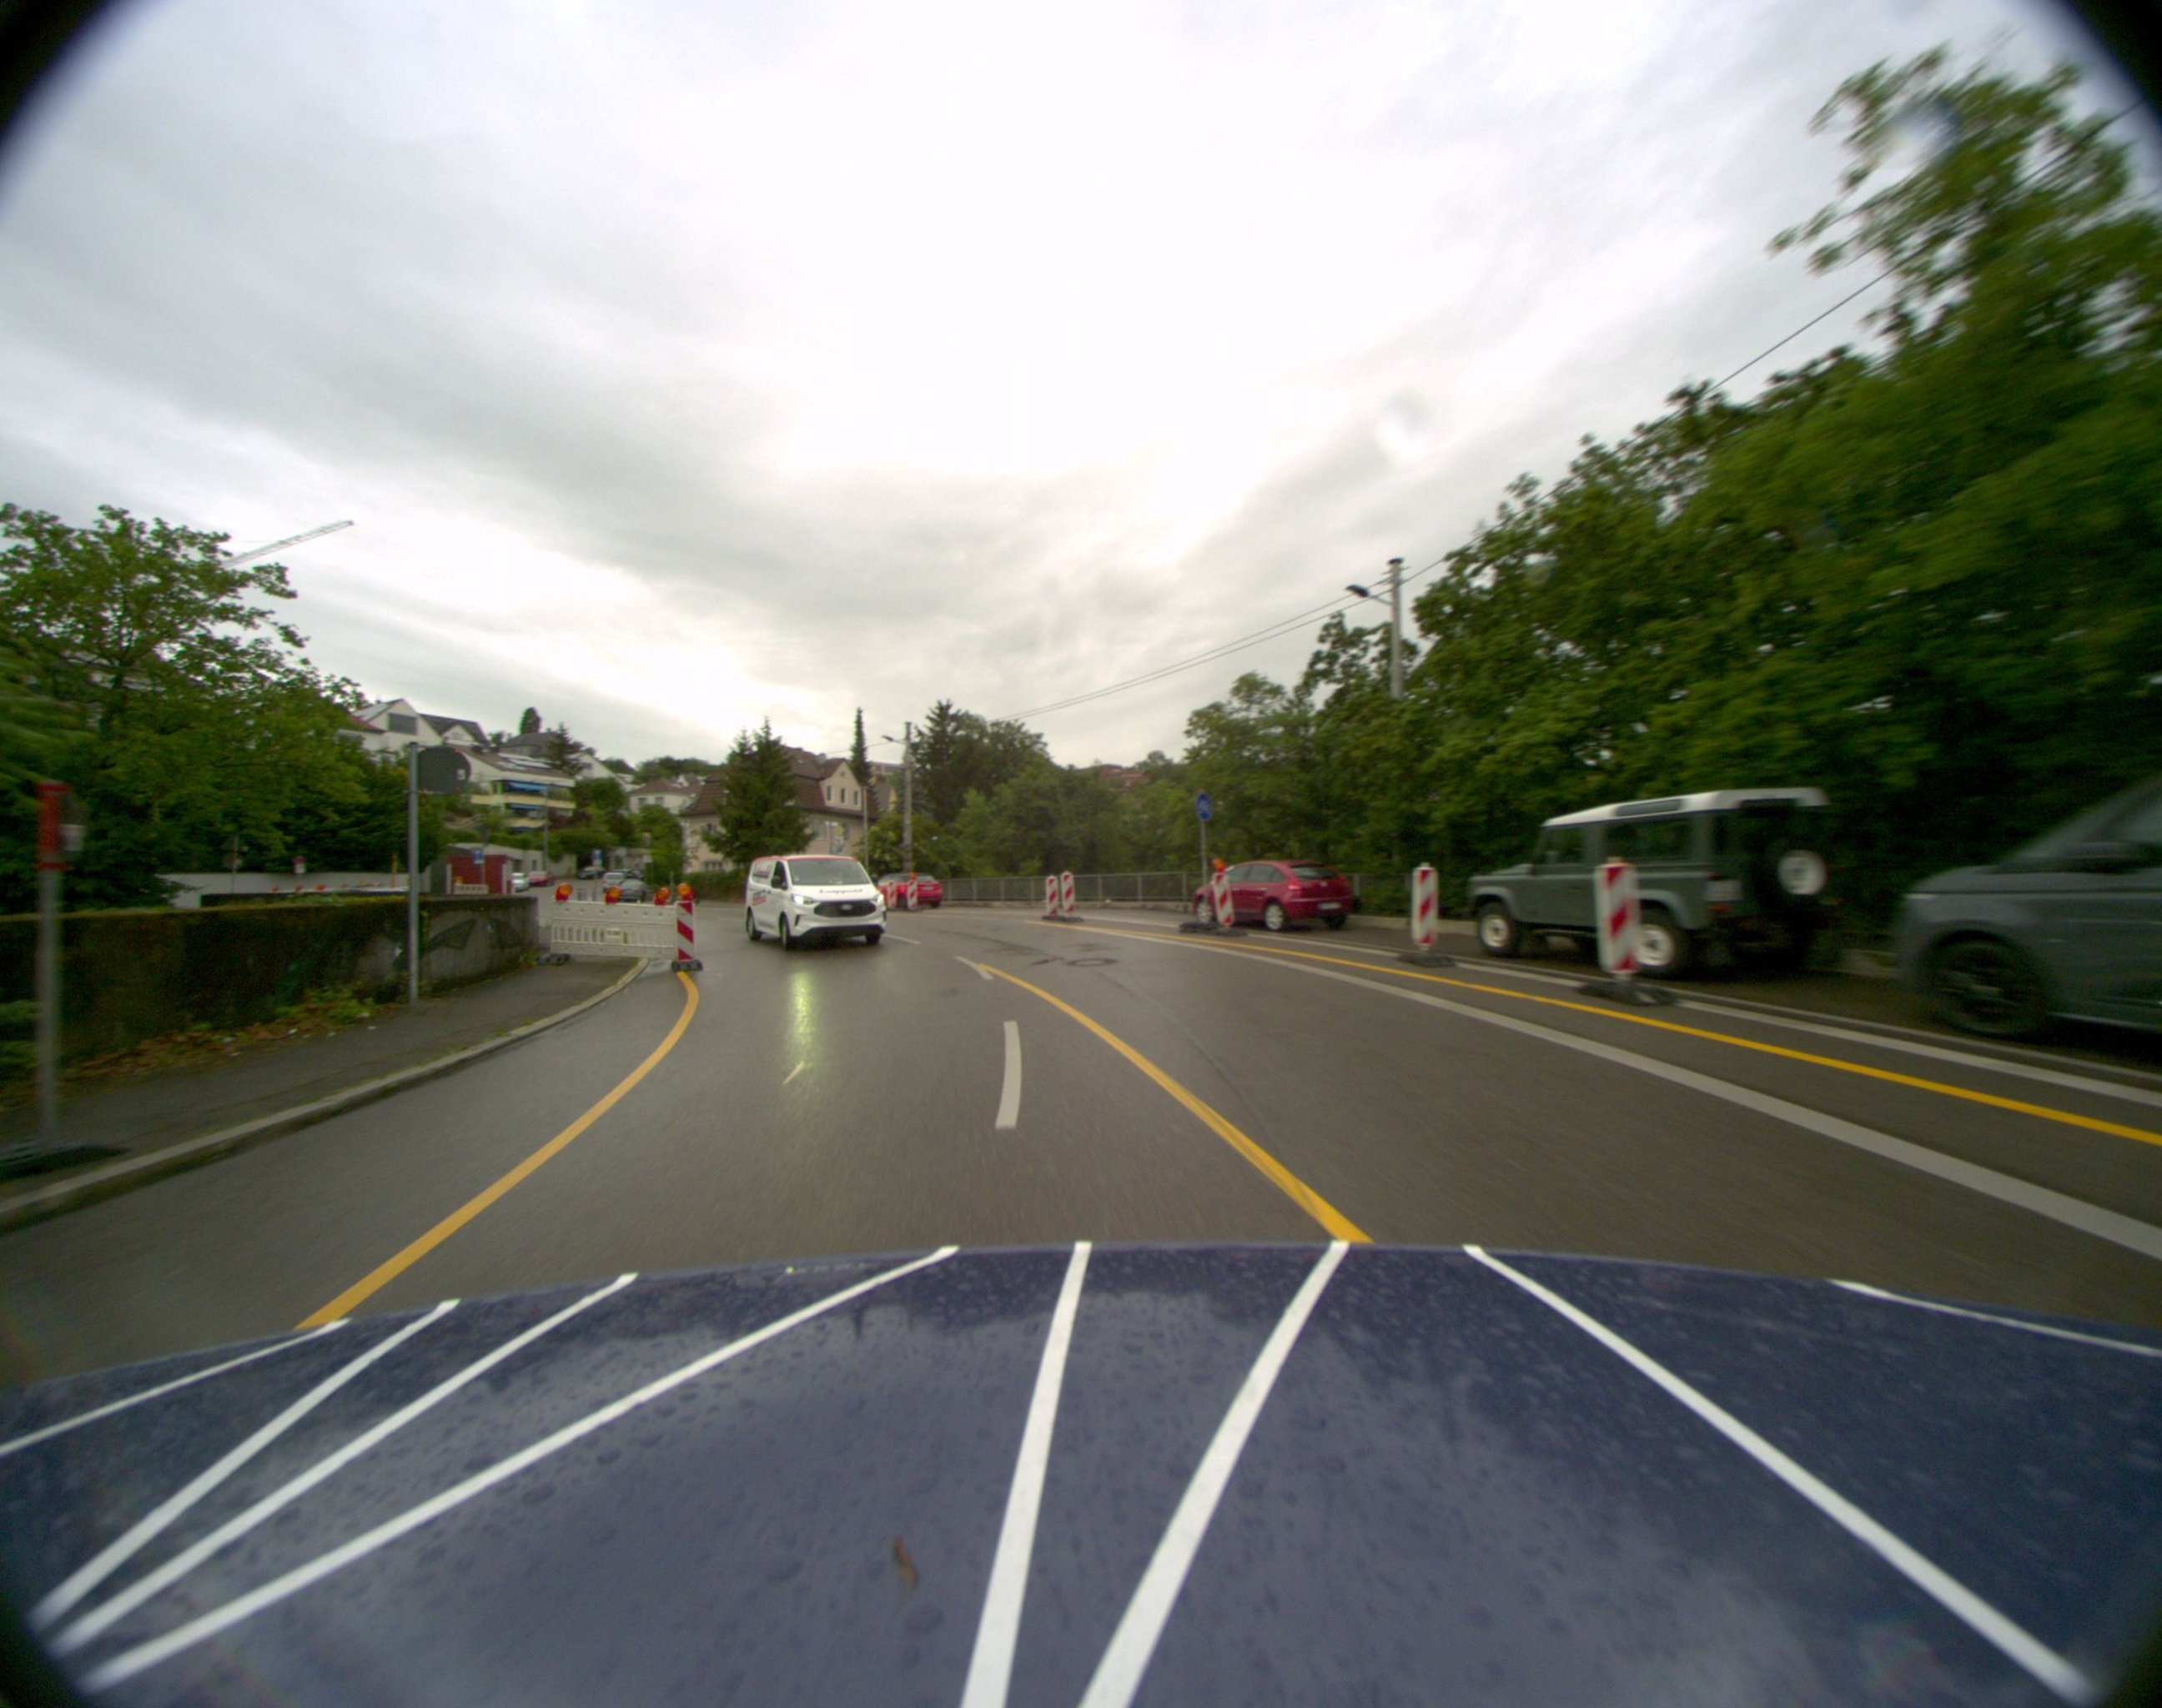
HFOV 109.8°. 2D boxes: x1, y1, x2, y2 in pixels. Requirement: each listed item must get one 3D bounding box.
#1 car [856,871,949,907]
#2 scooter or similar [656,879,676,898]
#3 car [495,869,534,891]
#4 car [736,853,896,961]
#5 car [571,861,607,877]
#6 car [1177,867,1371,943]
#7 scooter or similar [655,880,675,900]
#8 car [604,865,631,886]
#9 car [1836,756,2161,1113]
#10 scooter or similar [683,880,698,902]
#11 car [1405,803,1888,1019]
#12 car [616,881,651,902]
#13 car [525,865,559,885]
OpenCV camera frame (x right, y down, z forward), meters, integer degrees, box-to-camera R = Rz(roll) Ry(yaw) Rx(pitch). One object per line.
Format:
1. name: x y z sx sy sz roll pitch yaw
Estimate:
1. car: -7.474 1.422 31.674 4.124 1.389 1.695 -1 -1 42
2. scooter or similar: -24.382 2.030 44.625 0.243 1.062 1.039 0 -1 33
3. car: -47.482 2.155 63.741 2.003 1.652 3.990 2 -1 -29
4. car: -6.075 1.062 17.015 2.004 2.002 4.936 -2 0 -36
5. car: -54.232 1.674 83.779 1.882 1.485 3.995 -3 2 -12
6. car: 4.155 1.056 17.167 1.969 1.431 4.315 -1 -1 -24
7. scooter or similar: -23.964 2.079 43.792 0.243 1.157 1.039 0 -1 31
8. car: -40.055 1.838 65.615 1.878 1.652 3.989 2 0 -33
9. car: 7.002 0.412 3.602 1.998 2.002 4.950 -3 0 3
10. scooter or similar: -21.815 2.065 42.430 0.243 1.211 1.037 0 -1 4
11. car: 6.556 0.578 9.709 1.872 2.001 4.808 -2 -1 -14
12. car: -30.168 2.509 51.331 1.678 1.259 4.195 1 -1 -26
13. car: -50.346 1.985 71.005 1.878 1.651 3.993 2 -4 -25
